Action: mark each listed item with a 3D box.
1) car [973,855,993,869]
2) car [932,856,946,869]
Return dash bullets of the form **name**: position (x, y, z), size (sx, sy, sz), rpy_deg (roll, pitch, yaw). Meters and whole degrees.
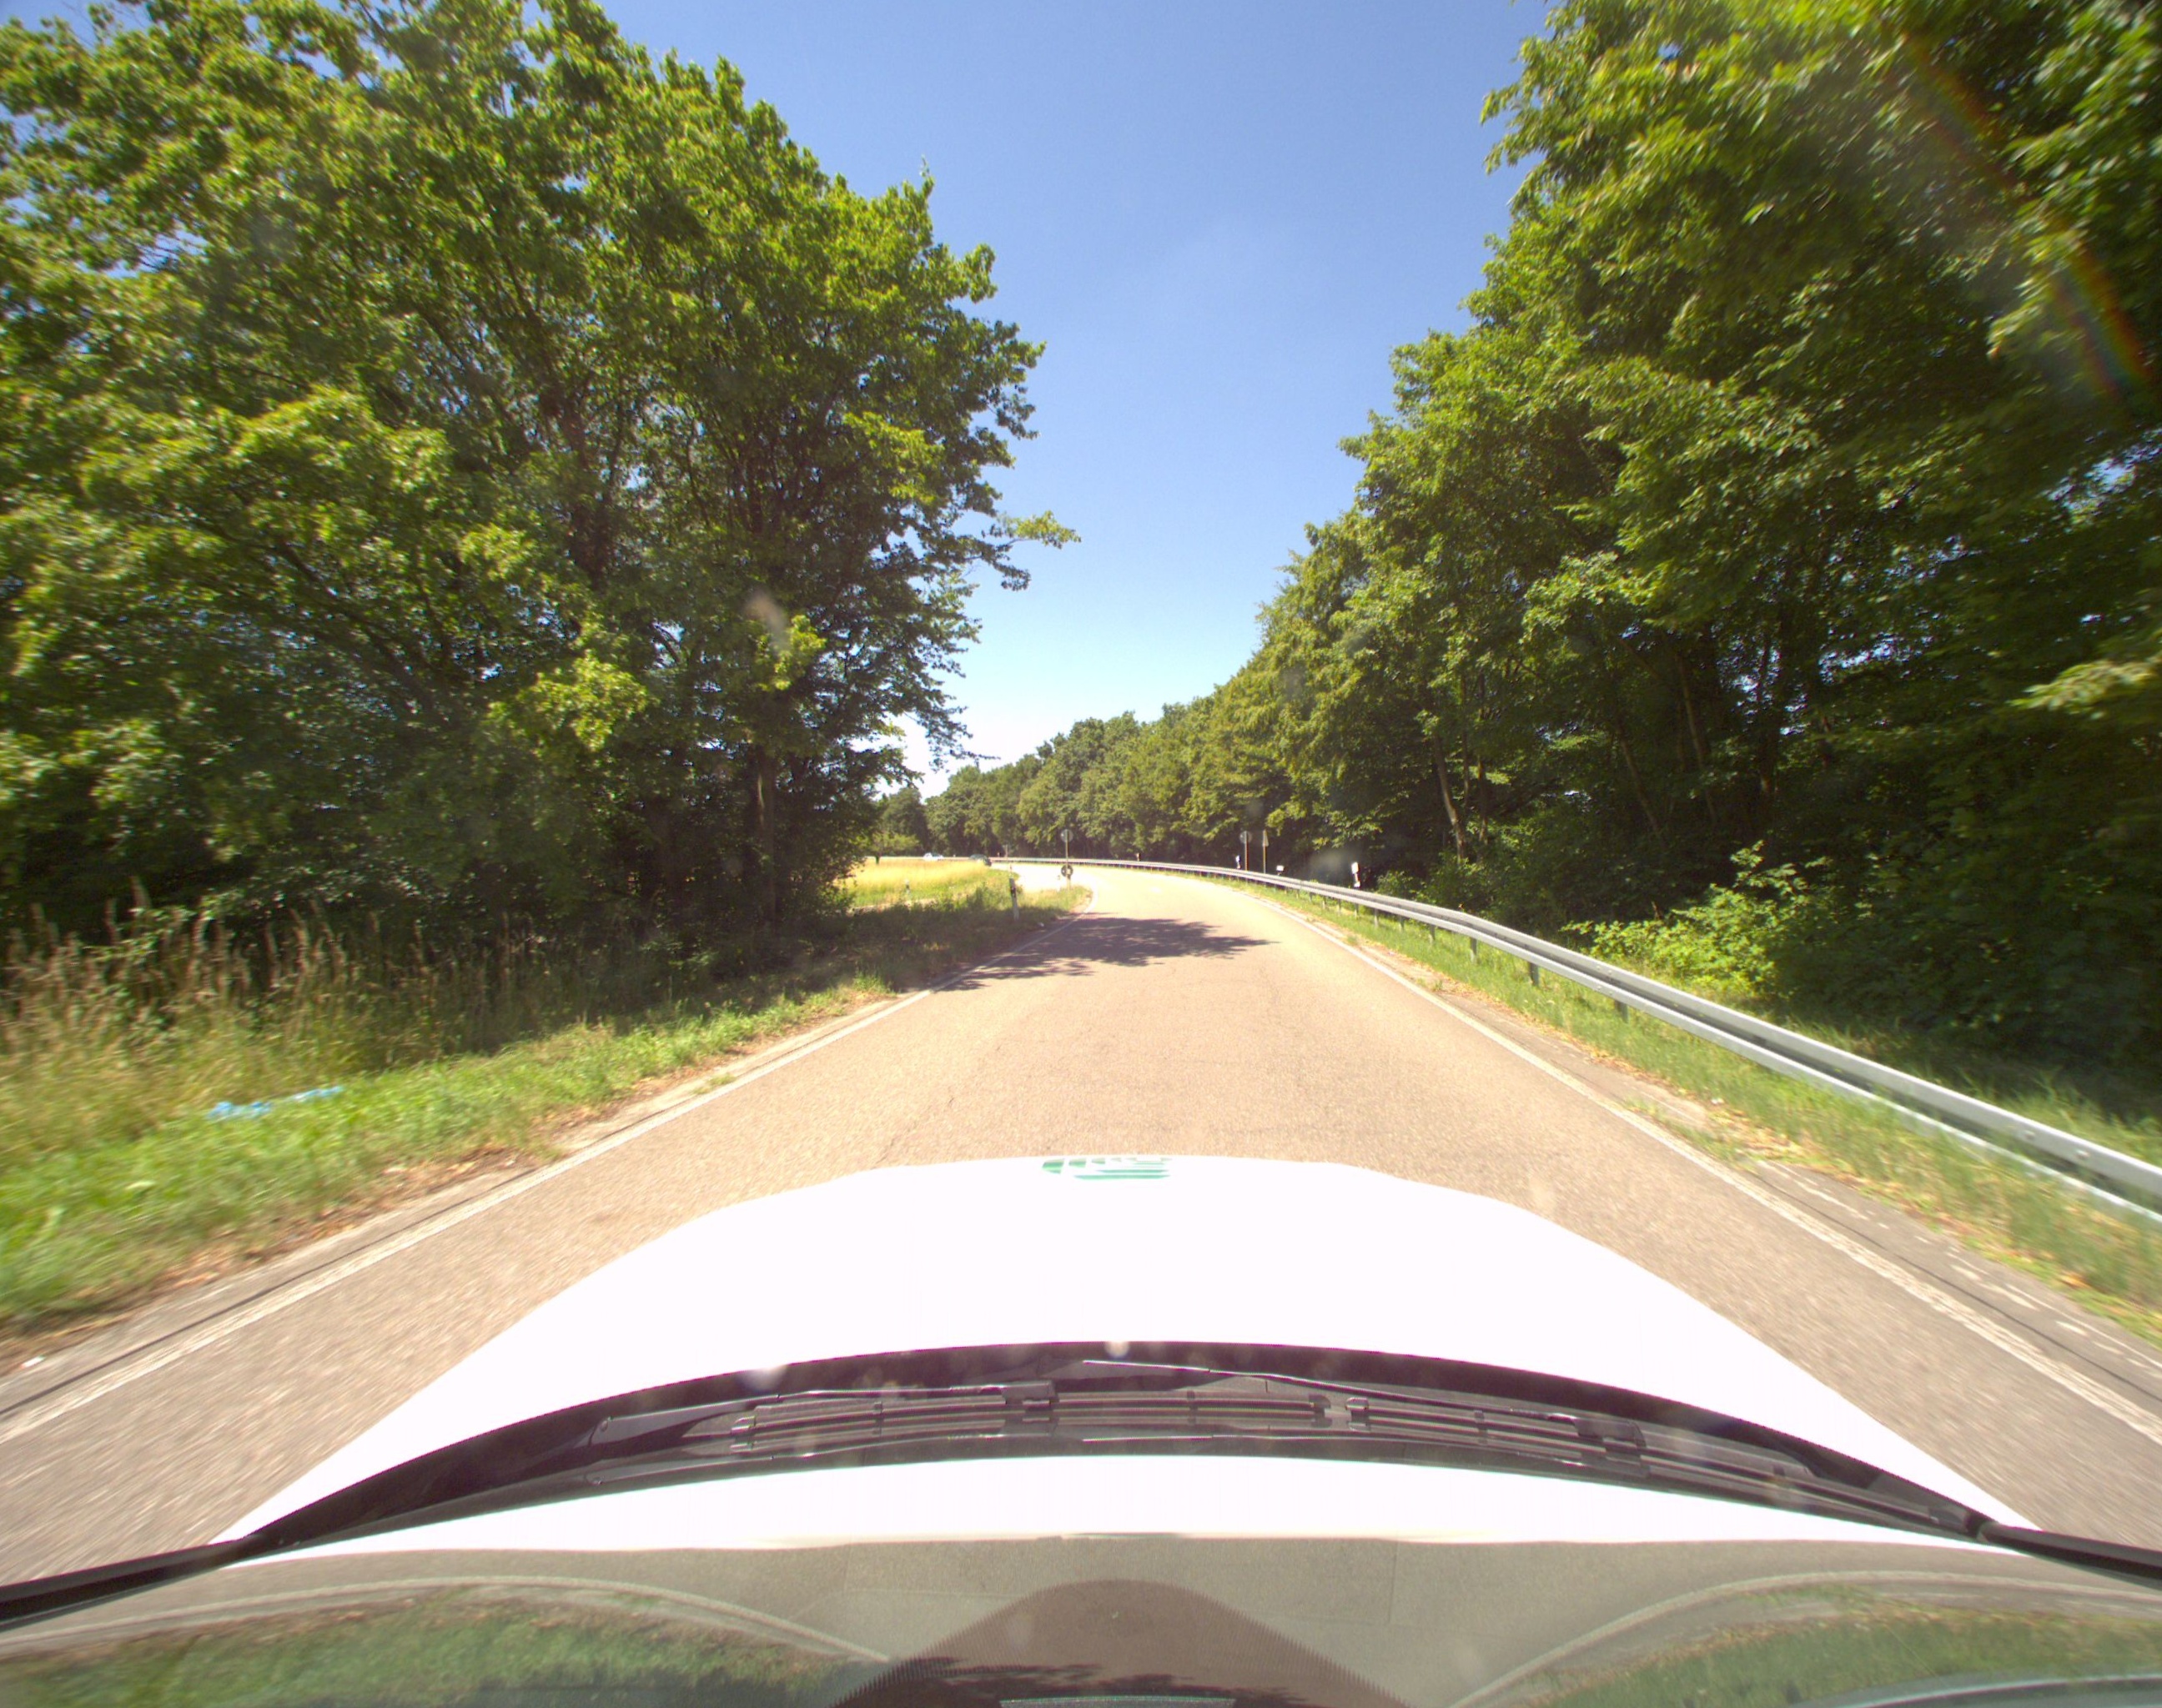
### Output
- **car**: position (-11.902, 0.939, 98.652), size (1.805, 1.506, 4.635), rpy_deg (-4, 0, -14)
- **car**: position (-19.830, 1.237, 113.932), size (1.823, 1.590, 4.203), rpy_deg (-5, 0, -10)
